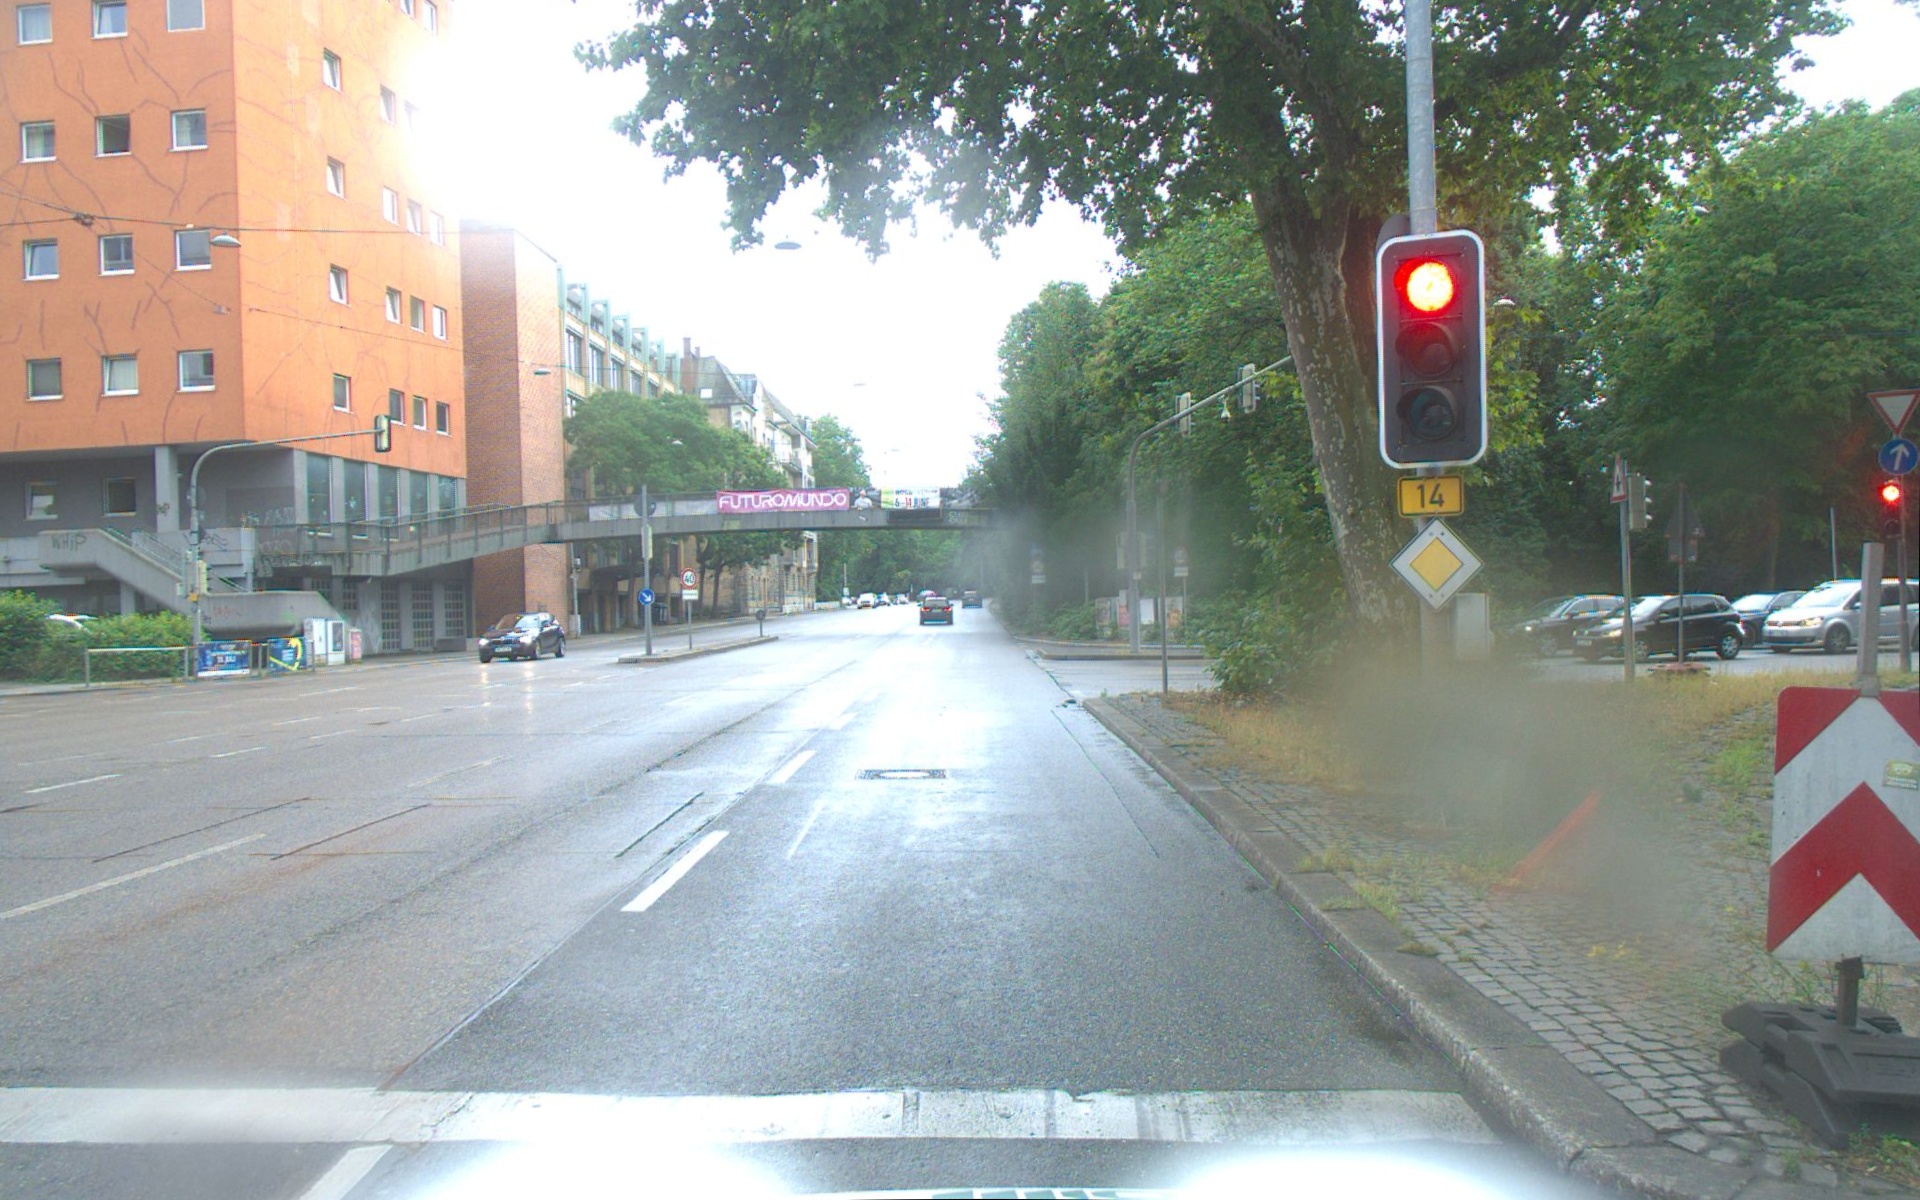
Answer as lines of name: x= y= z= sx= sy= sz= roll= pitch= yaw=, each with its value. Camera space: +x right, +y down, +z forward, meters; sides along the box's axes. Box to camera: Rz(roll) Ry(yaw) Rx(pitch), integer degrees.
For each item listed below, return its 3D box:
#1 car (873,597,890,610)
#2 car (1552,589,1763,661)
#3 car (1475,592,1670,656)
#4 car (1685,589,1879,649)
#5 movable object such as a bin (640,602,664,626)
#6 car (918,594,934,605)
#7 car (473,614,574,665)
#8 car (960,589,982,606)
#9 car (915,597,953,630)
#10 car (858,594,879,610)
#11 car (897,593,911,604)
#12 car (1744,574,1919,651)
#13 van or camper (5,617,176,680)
car: x=-9.617 y=0.394 z=202.660 sx=1.673 sy=1.490 sz=4.042 roll=-2 pitch=0 yaw=2
car: x=15.374 y=0.552 z=36.514 sx=4.119 sy=1.486 sz=1.785 roll=1 pitch=0 yaw=-17
car: x=14.895 y=0.572 z=40.273 sx=4.131 sy=1.466 sz=1.941 roll=1 pitch=0 yaw=-17
car: x=20.820 y=0.473 z=41.921 sx=4.361 sy=1.427 sz=1.821 roll=1 pitch=0 yaw=-17
movable object such as a bin: x=-19.850 y=0.887 z=106.700 sx=1.256 sy=1.545 sz=1.273 roll=-1 pitch=0 yaw=1
car: x=-5.021 y=-0.077 z=244.211 sx=1.853 sy=1.638 sz=4.450 roll=-1 pitch=0 yaw=-6
car: x=-13.250 y=1.195 z=50.422 sx=1.650 sy=1.444 sz=4.216 roll=-2 pitch=-1 yaw=4
car: x=0.946 y=-0.192 z=147.033 sx=1.805 sy=1.478 sz=3.776 roll=1 pitch=0 yaw=-1
car: x=-1.424 y=0.698 z=89.234 sx=1.964 sy=1.672 sz=4.374 roll=-1 pitch=0 yaw=-2
car: x=-9.821 y=0.203 z=177.417 sx=1.850 sy=1.638 sz=4.457 roll=-1 pitch=0 yaw=2
car: x=-7.730 y=-0.221 z=228.748 sx=1.648 sy=1.461 sz=3.862 roll=-2 pitch=0 yaw=0
car: x=20.642 y=0.299 z=38.516 sx=4.129 sy=1.709 sz=1.898 roll=1 pitch=0 yaw=-17
van or camper: x=-24.959 y=1.373 z=47.544 sx=3.902 sy=1.656 sz=1.915 roll=-1 pitch=0 yaw=5
